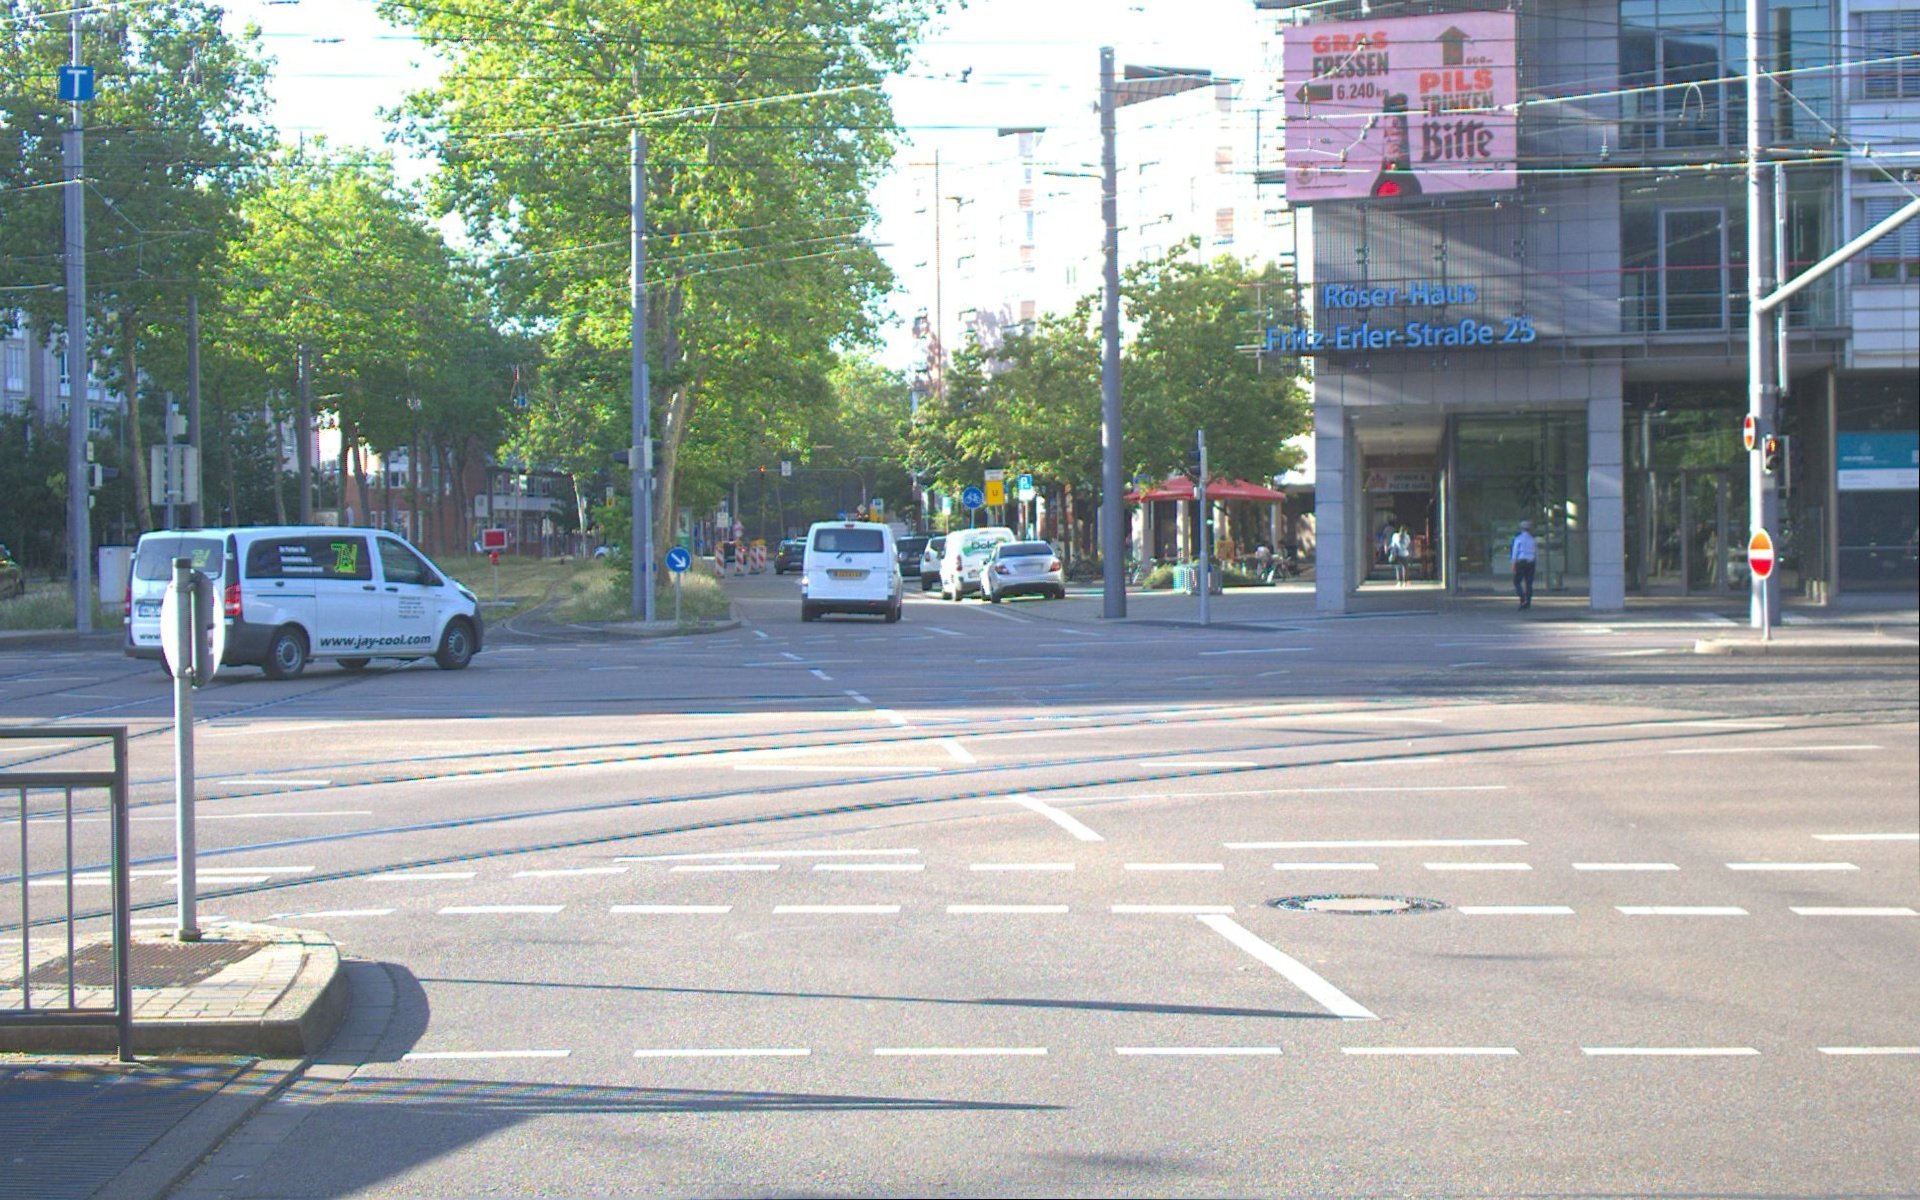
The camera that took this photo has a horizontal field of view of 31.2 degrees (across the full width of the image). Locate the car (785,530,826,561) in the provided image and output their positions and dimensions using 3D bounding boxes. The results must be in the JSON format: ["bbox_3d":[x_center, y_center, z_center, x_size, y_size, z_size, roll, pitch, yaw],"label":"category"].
[{"bbox_3d":[-7.405,-2.614,165.268,1.797,1.437,4.000,-1,1,-1],"label":"car"}]

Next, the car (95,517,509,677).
[{"bbox_3d":[-8.109,-0.085,42.906,1.964,1.842,5.321,0,1,32],"label":"car"}]

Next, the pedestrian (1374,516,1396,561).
[{"bbox_3d":[16.289,-2.368,131.715,0.744,1.708,0.612,-1,1,-1],"label":"pedestrian"}]

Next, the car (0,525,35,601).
[{"bbox_3d":[-21.668,-0.797,74.915,1.993,1.634,4.000,-1,1,-1],"label":"car"}]

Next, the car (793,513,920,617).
[{"bbox_3d":[-1.898,-0.678,64.322,1.756,1.860,4.524,-1,1,6],"label":"car"}]

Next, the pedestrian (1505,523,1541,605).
[{"bbox_3d":[10.458,-0.665,63.866,0.612,1.502,0.579,-1,1,7],"label":"pedestrian"}]

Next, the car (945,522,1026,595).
[{"bbox_3d":[0.645,-1.094,89.562,1.993,1.853,4.000,-1,1,-1],"label":"car"}]

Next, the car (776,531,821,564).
[{"bbox_3d":[-7.168,-2.355,152.888,1.797,1.437,4.000,-1,1,-1],"label":"car"}]

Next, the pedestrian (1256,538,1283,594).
[{"bbox_3d":[9.441,-1.041,104.950,0.744,1.708,0.612,-1,1,-1],"label":"pedestrian"}]

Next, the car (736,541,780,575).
[{"bbox_3d":[-8.630,-1.786,147.010,1.797,1.437,4.000,1,1,-2],"label":"car"}]

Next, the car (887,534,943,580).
[{"bbox_3d":[-1.646,-1.597,126.658,1.993,1.612,4.000,-1,1,0],"label":"car"}]

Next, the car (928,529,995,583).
[{"bbox_3d":[0.033,-1.358,105.208,1.993,1.612,4.000,-1,1,0],"label":"car"}]

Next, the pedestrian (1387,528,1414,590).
[{"bbox_3d":[10.776,-1.009,84.108,0.612,1.502,0.579,-1,1,7],"label":"pedestrian"}]

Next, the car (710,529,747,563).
[{"bbox_3d":[-13.828,-3.248,205.653,1.993,2.007,4.000,-1,1,-1],"label":"car"}]

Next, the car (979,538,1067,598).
[{"bbox_3d":[1.490,-0.785,82.767,1.993,1.371,4.000,-1,1,-1],"label":"car"}]

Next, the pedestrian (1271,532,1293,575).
[{"bbox_3d":[9.850,-1.430,105.151,0.577,1.284,0.910,-1,1,-1],"label":"pedestrian"}]
